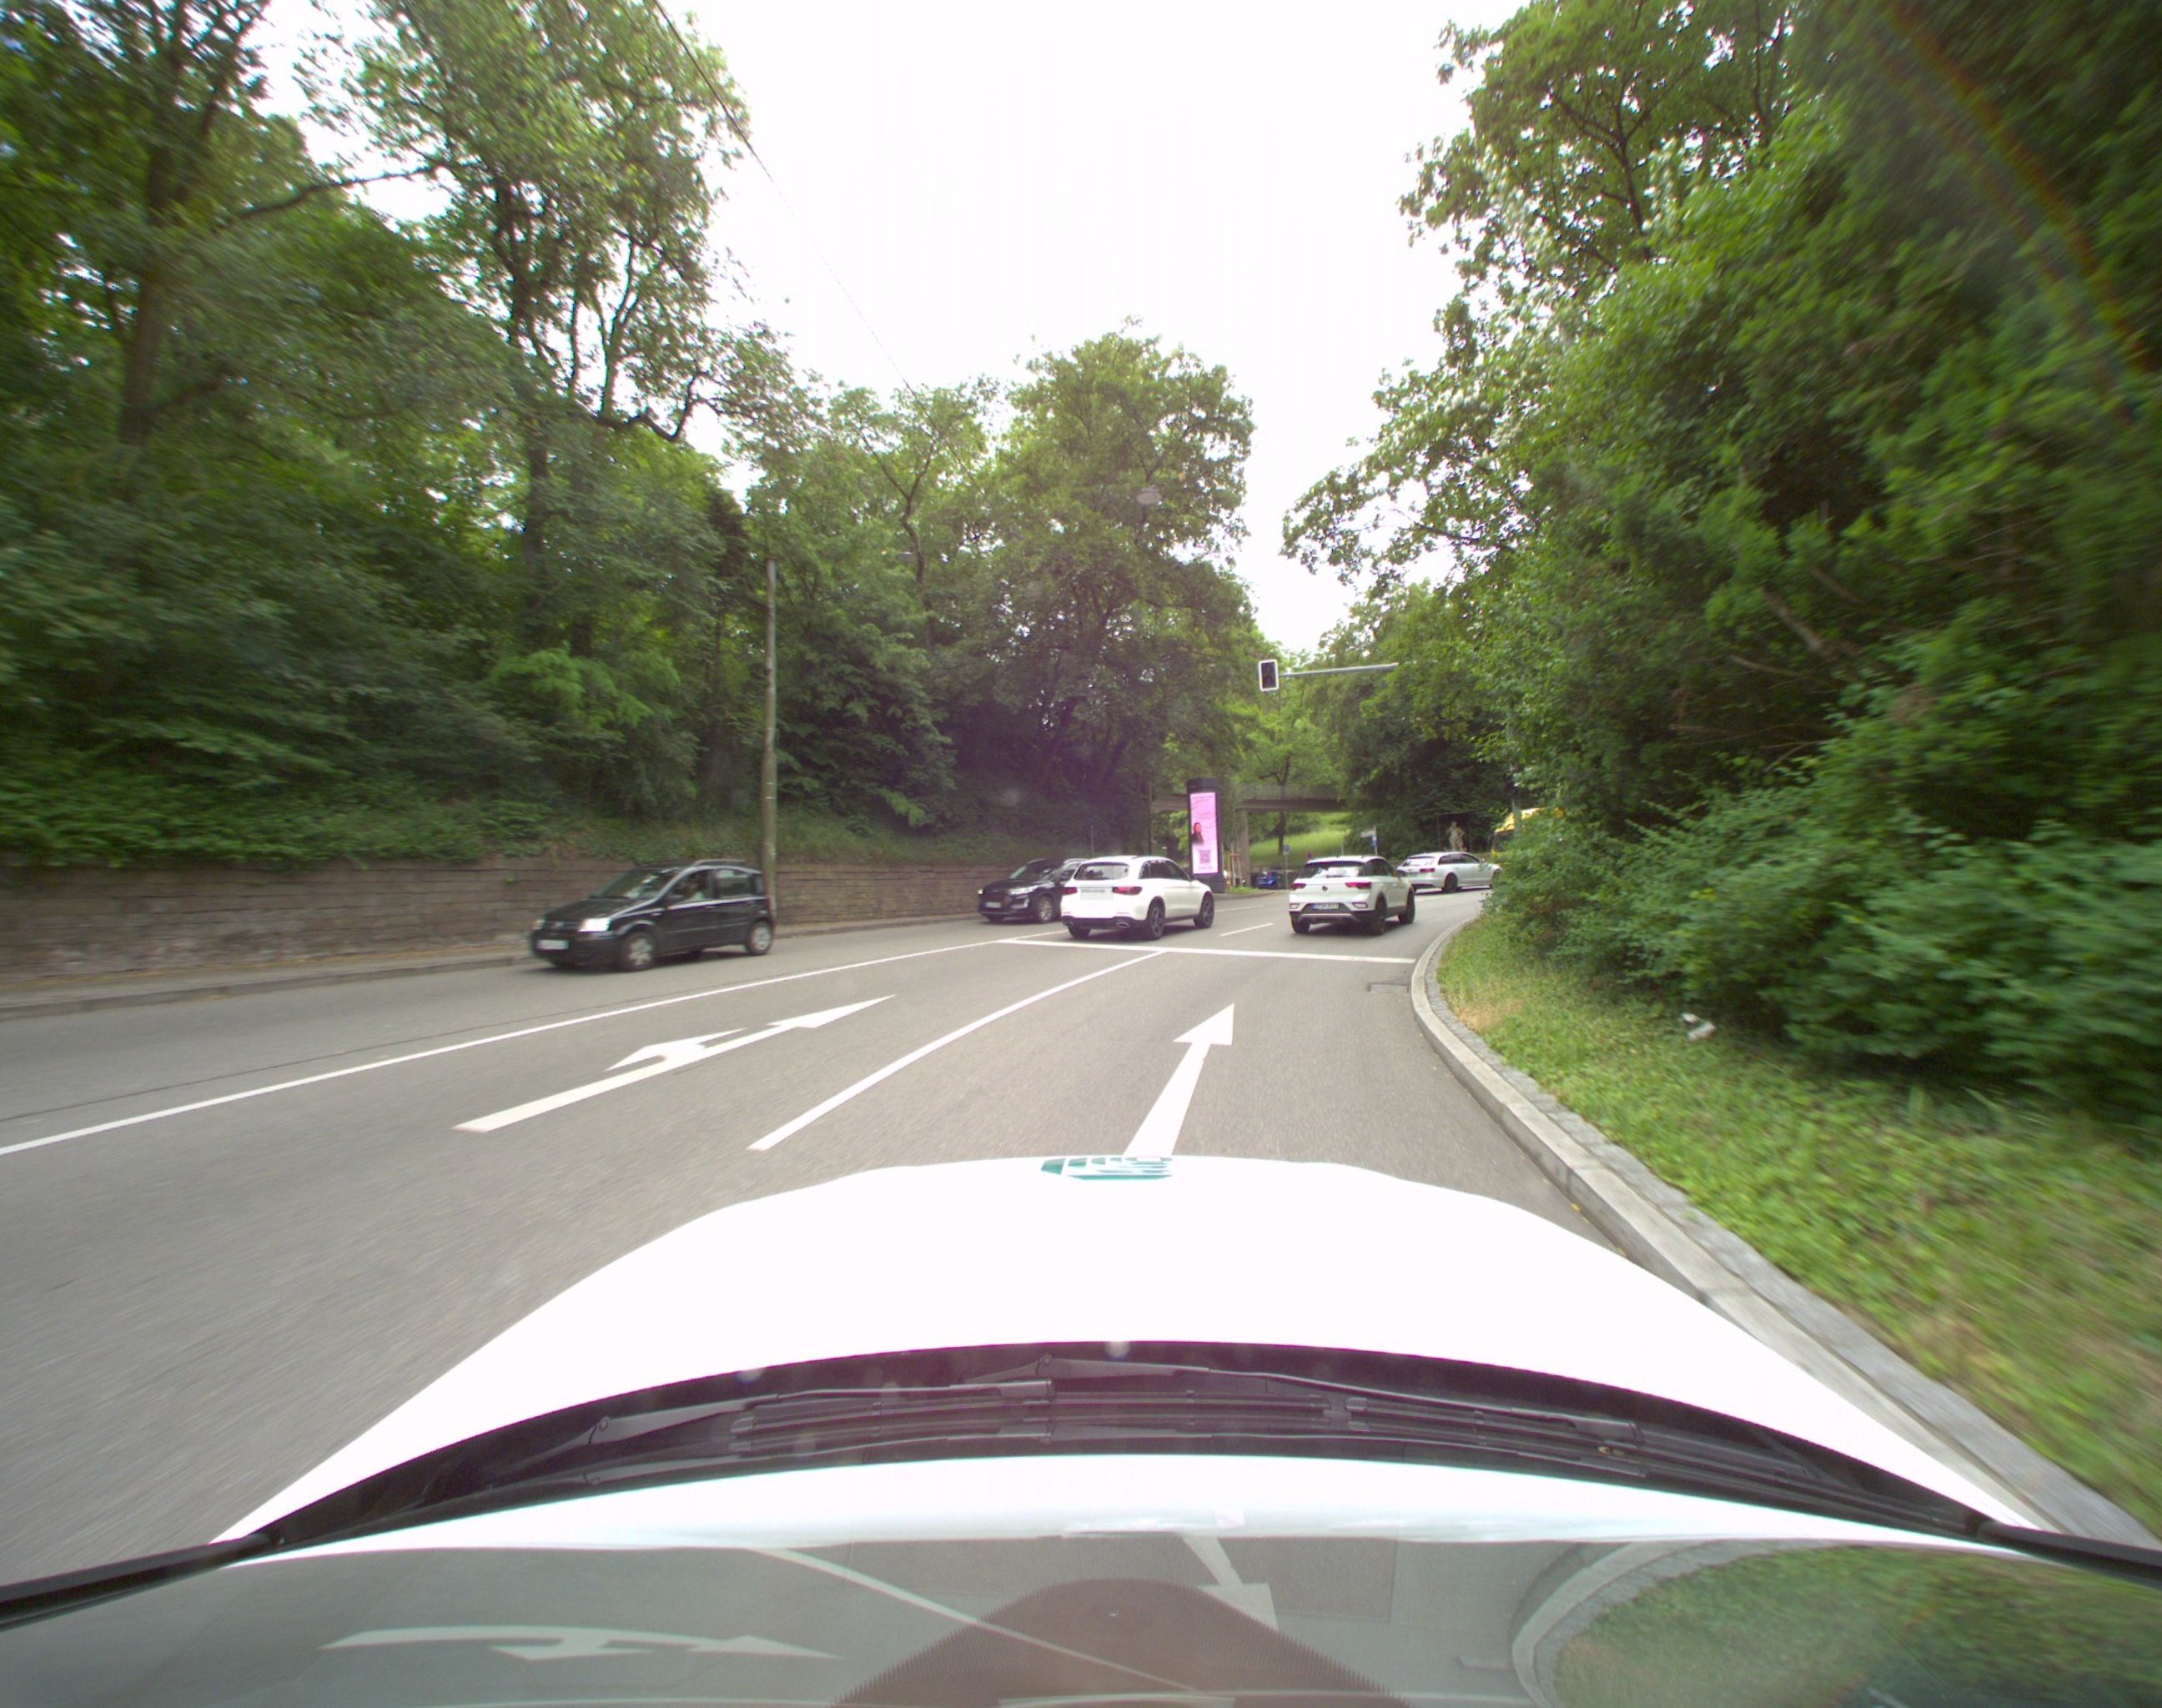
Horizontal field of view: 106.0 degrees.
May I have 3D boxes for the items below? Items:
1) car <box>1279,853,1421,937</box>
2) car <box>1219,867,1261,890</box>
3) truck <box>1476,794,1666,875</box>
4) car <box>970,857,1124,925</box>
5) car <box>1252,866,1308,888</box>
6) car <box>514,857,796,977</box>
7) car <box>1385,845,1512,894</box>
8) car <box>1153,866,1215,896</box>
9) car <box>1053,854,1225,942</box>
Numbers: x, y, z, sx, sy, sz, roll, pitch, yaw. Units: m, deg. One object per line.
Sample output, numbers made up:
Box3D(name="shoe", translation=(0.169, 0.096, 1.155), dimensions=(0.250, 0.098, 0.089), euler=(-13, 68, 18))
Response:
Box3D(name="car", translation=(5.879, 0.771, 17.445), dimensions=(1.737, 1.553, 4.365), euler=(-1, 0, 34))
Box3D(name="car", translation=(10.071, 1.551, 51.922), dimensions=(1.743, 1.358, 3.997), euler=(-3, -2, -2))
Box3D(name="truck", translation=(23.123, -0.884, 38.570), dimensions=(7.557, 3.301, 2.749), euler=(-3, -2, -10))
Box3D(name="car", translation=(-0.776, 0.924, 21.975), dimensions=(1.737, 1.624, 4.679), euler=(-2, -2, 32))
Box3D(name="car", translation=(14.874, 1.715, 60.827), dimensions=(4.013, 1.552, 1.758), euler=(0, -3, -31))
Box3D(name="car", translation=(-6.229, 0.835, 12.381), dimensions=(1.493, 1.525, 3.679), euler=(0, -1, 22))
Box3D(name="car", translation=(13.446, 0.538, 29.724), dimensions=(4.794, 1.534, 1.852), euler=(-2, -1, -32))
Box3D(name="car", translation=(6.366, 1.706, 50.877), dimensions=(1.809, 1.685, 4.509), euler=(-2, -2, -22))
Box3D(name="car", translation=(1.417, 0.817, 17.403), dimensions=(1.841, 1.605, 4.699), euler=(-1, -1, 29))
